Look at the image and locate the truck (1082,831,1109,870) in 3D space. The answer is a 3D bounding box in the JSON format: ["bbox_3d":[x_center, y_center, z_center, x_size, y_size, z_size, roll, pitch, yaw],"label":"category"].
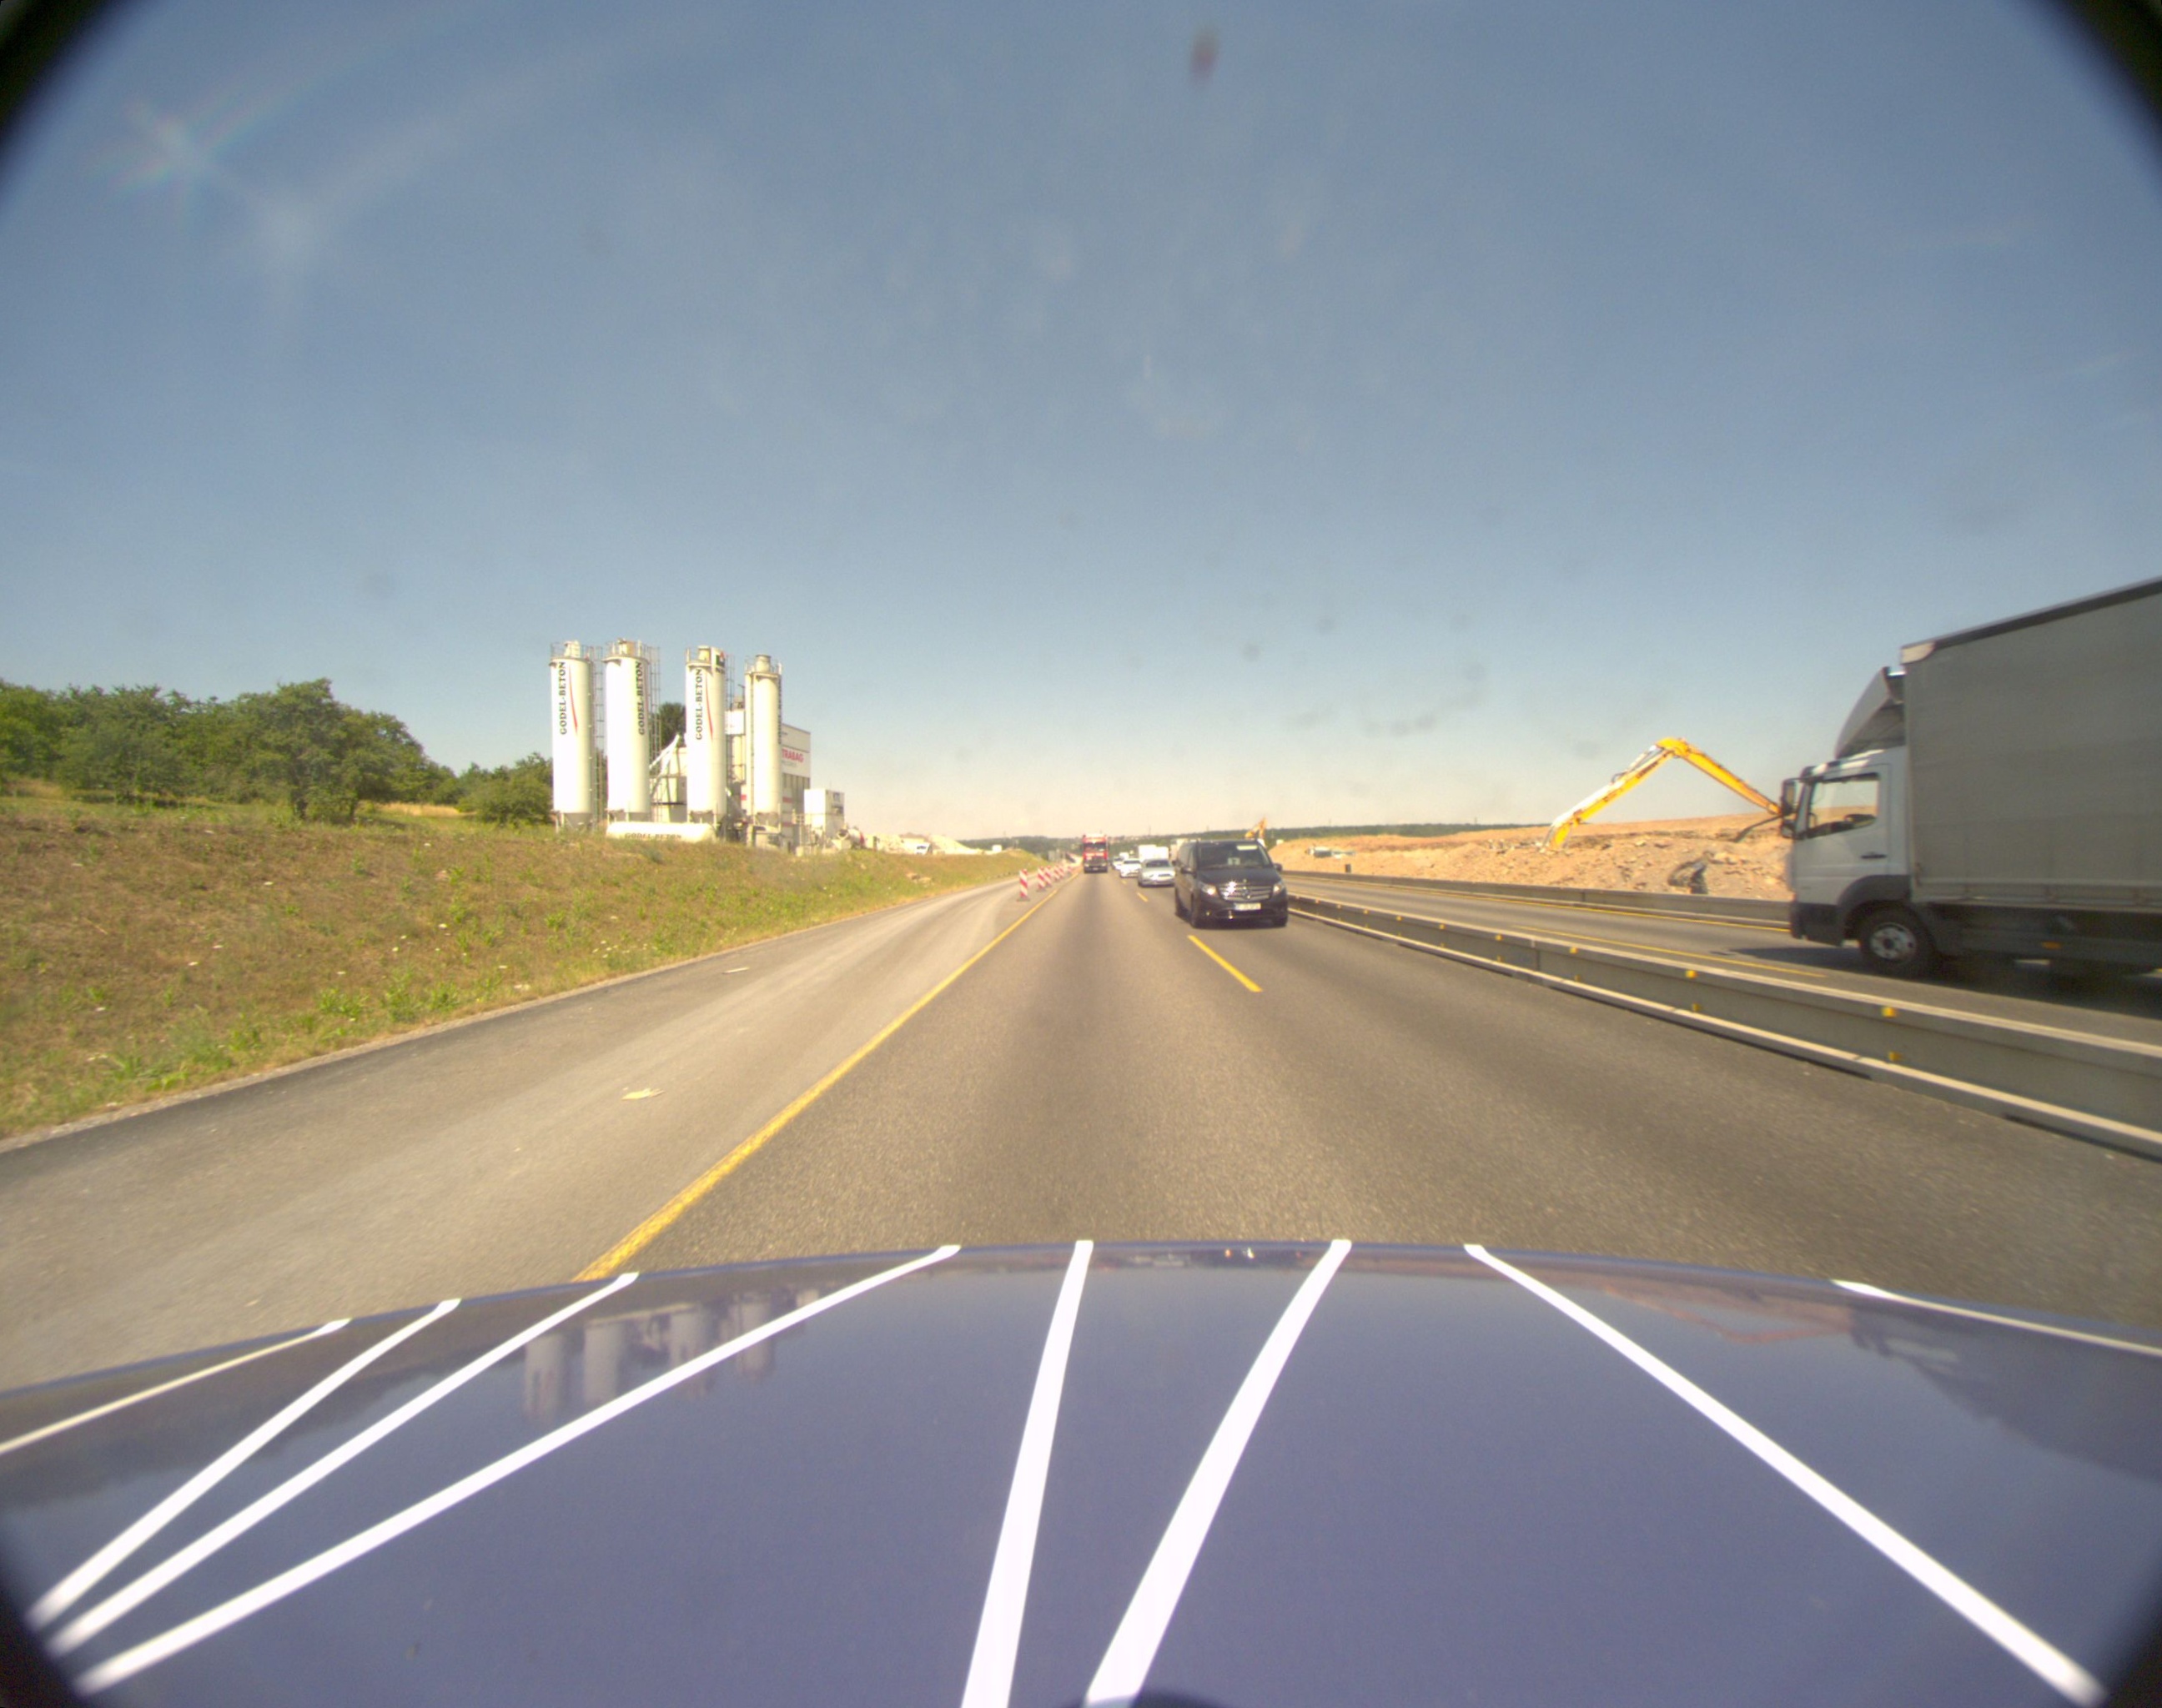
[{"bbox_3d":[1.656,-0.391,80.133,2.537,3.798,9.481,-2,1,2],"label":"truck"}]

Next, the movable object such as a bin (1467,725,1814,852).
[{"bbox_3d":[33.636,-3.833,46.216,18.265,6.733,3.388,-2,1,1],"label":"movable object such as a bin"}]

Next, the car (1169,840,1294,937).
[{"bbox_3d":[3.275,0.685,17.647,1.878,1.840,5.479,-2,0,1],"label":"car"}]

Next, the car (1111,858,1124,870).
[{"bbox_3d":[4.776,1.267,99.472,1.601,1.390,3.695,-2,1,2],"label":"car"}]

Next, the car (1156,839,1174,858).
[{"bbox_3d":[13.194,-0.846,120.056,2.257,2.938,5.848,-2,1,1],"label":"car"}]

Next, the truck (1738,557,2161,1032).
[{"bbox_3d":[9.720,-0.488,5.025,2.651,3.695,9.482,-2,1,1],"label":"truck"}]

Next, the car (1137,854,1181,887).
[{"bbox_3d":[3.861,0.820,38.350,1.804,1.499,4.101,-2,0,1],"label":"car"}]

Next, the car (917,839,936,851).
[{"bbox_3d":[-23.397,-1.386,115.035,1.990,1.752,3.602,-2,1,1],"label":"car"}]

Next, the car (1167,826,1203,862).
[{"bbox_3d":[11.510,-1.068,84.589,2.915,3.718,8.091,-2,0,1],"label":"car"}]

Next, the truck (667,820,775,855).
[{"bbox_3d":[-33.642,-1.498,71.085,9.090,2.852,2.460,-2,1,7],"label":"truck"}]

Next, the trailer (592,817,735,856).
[{"bbox_3d":[-30.508,-1.253,55.745,8.919,2.592,2.463,-1,1,-2],"label":"trailer"}]

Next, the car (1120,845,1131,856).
[{"bbox_3d":[10.047,-0.685,171.383,2.040,2.329,6.196,-2,0,1],"label":"car"}]

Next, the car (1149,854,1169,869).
[{"bbox_3d":[8.440,0.793,82.276,1.792,1.473,4.561,-2,1,1],"label":"car"}]

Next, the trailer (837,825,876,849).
[{"bbox_3d":[-26.609,-2.004,90.265,1.998,2.629,6.938,-2,1,5],"label":"trailer"}]

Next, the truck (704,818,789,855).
[{"bbox_3d":[-25.182,-1.339,57.291,5.317,2.530,2.897,-3,1,-35],"label":"truck"}]

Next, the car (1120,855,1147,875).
[{"bbox_3d":[3.958,0.841,58.254,1.875,1.390,4.030,-2,1,2],"label":"car"}]

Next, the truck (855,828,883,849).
[{"bbox_3d":[-26.234,-1.929,94.127,2.021,2.530,4.042,-2,1,5],"label":"truck"}]

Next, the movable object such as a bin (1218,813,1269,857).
[{"bbox_3d":[26.956,-3.130,126.515,7.378,7.073,4.081,-2,1,1],"label":"movable object such as a bin"}]

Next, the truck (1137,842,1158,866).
[{"bbox_3d":[8.873,-0.047,102.368,2.276,3.131,7.313,-2,1,2],"label":"truck"}]

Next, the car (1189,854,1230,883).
[{"bbox_3d":[7.173,0.778,42.722,1.631,1.475,4.053,-2,1,1],"label":"car"}]

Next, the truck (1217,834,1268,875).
[{"bbox_3d":[10.958,0.121,52.116,2.103,2.553,6.355,-3,-1,0],"label":"truck"}]

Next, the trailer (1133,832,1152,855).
[{"bbox_3d":[12.857,-2.147,159.380,2.993,4.569,12.883,-2,1,1],"label":"trailer"}]

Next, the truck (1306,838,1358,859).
[{"bbox_3d":[26.821,-0.607,81.585,2.568,2.046,8.803,-2,0,0],"label":"truck"}]
